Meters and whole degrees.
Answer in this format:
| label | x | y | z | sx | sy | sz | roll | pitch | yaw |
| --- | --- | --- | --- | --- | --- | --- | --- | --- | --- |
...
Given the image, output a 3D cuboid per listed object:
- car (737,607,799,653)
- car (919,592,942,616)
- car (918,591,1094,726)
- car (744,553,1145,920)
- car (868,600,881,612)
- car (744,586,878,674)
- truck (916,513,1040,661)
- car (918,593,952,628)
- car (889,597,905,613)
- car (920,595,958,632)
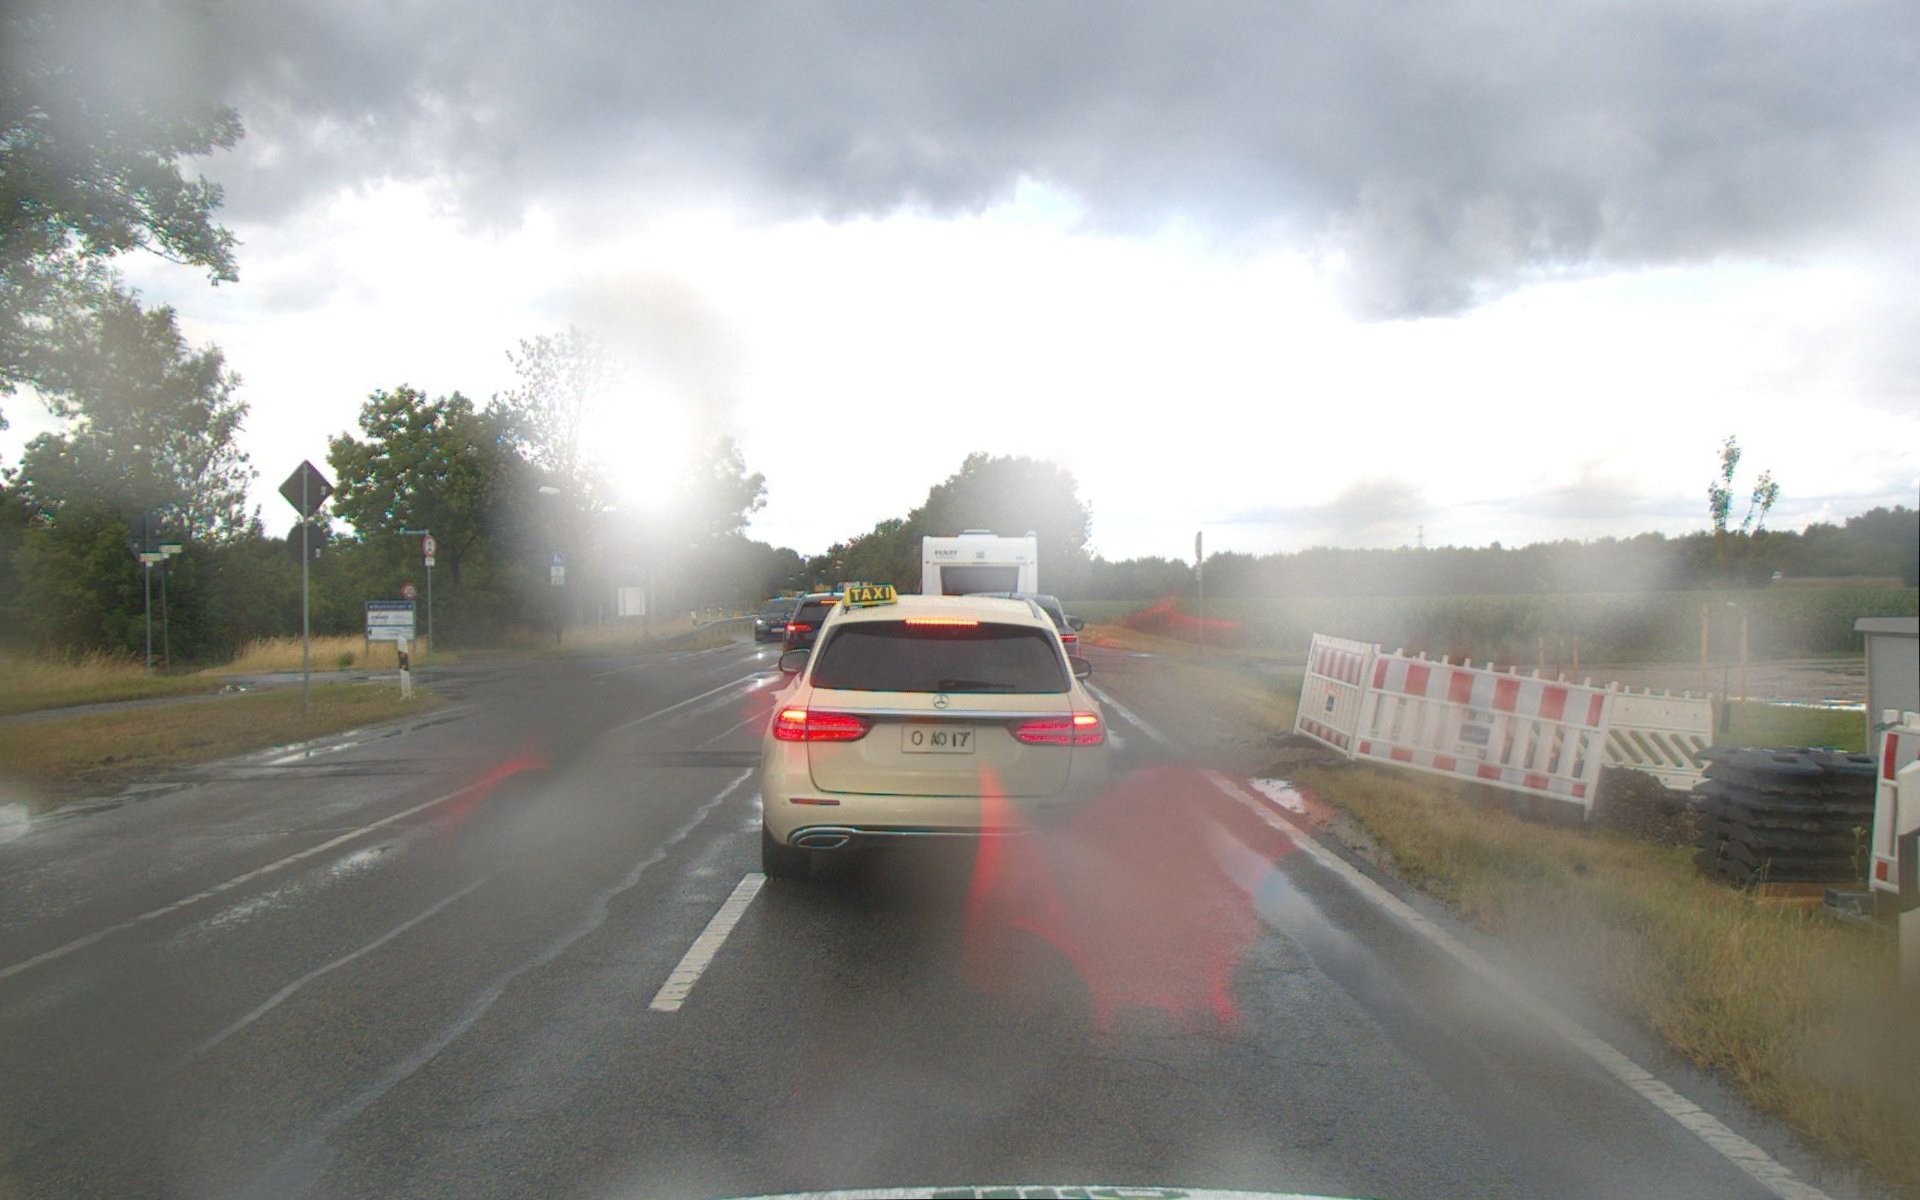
| label | x | y | z | sx | sy | sz | roll | pitch | yaw |
| --- | --- | --- | --- | --- | --- | --- | --- | --- | --- |
| car | -6.560 | 0.999 | 56.886 | 1.685 | 1.429 | 4.042 | -2 | 0 | -1 |
| car | -2.291 | 0.288 | 129.403 | 1.755 | 1.808 | 3.720 | -1 | 0 | -1 |
| car | 0.494 | 0.661 | 20.640 | 1.953 | 1.488 | 3.999 | 1 | 0 | -1 |
| car | -0.093 | 0.619 | 9.488 | 1.805 | 1.646 | 3.999 | 0 | 0 | -1 |
| car | -12.911 | 0.881 | 249.315 | 1.857 | 1.872 | 3.881 | -1 | 0 | -1 |
| car | -2.828 | 0.551 | 32.429 | 2.255 | 1.574 | 4.631 | 1 | 0 | -1 |
| truck | 0.301 | -0.266 | 35.247 | 2.315 | 2.776 | 7.313 | -1 | 0 | -1 |
| car | -1.490 | 0.602 | 100.486 | 1.953 | 2.049 | 4.000 | -1 | 0 | 0 |
| car | -8.013 | 0.643 | 209.597 | 1.858 | 1.928 | 3.840 | -1 | 0 | -4 |
| car | -1.075 | 0.680 | 85.524 | 1.876 | 1.873 | 3.795 | -1 | 0 | 0 |
